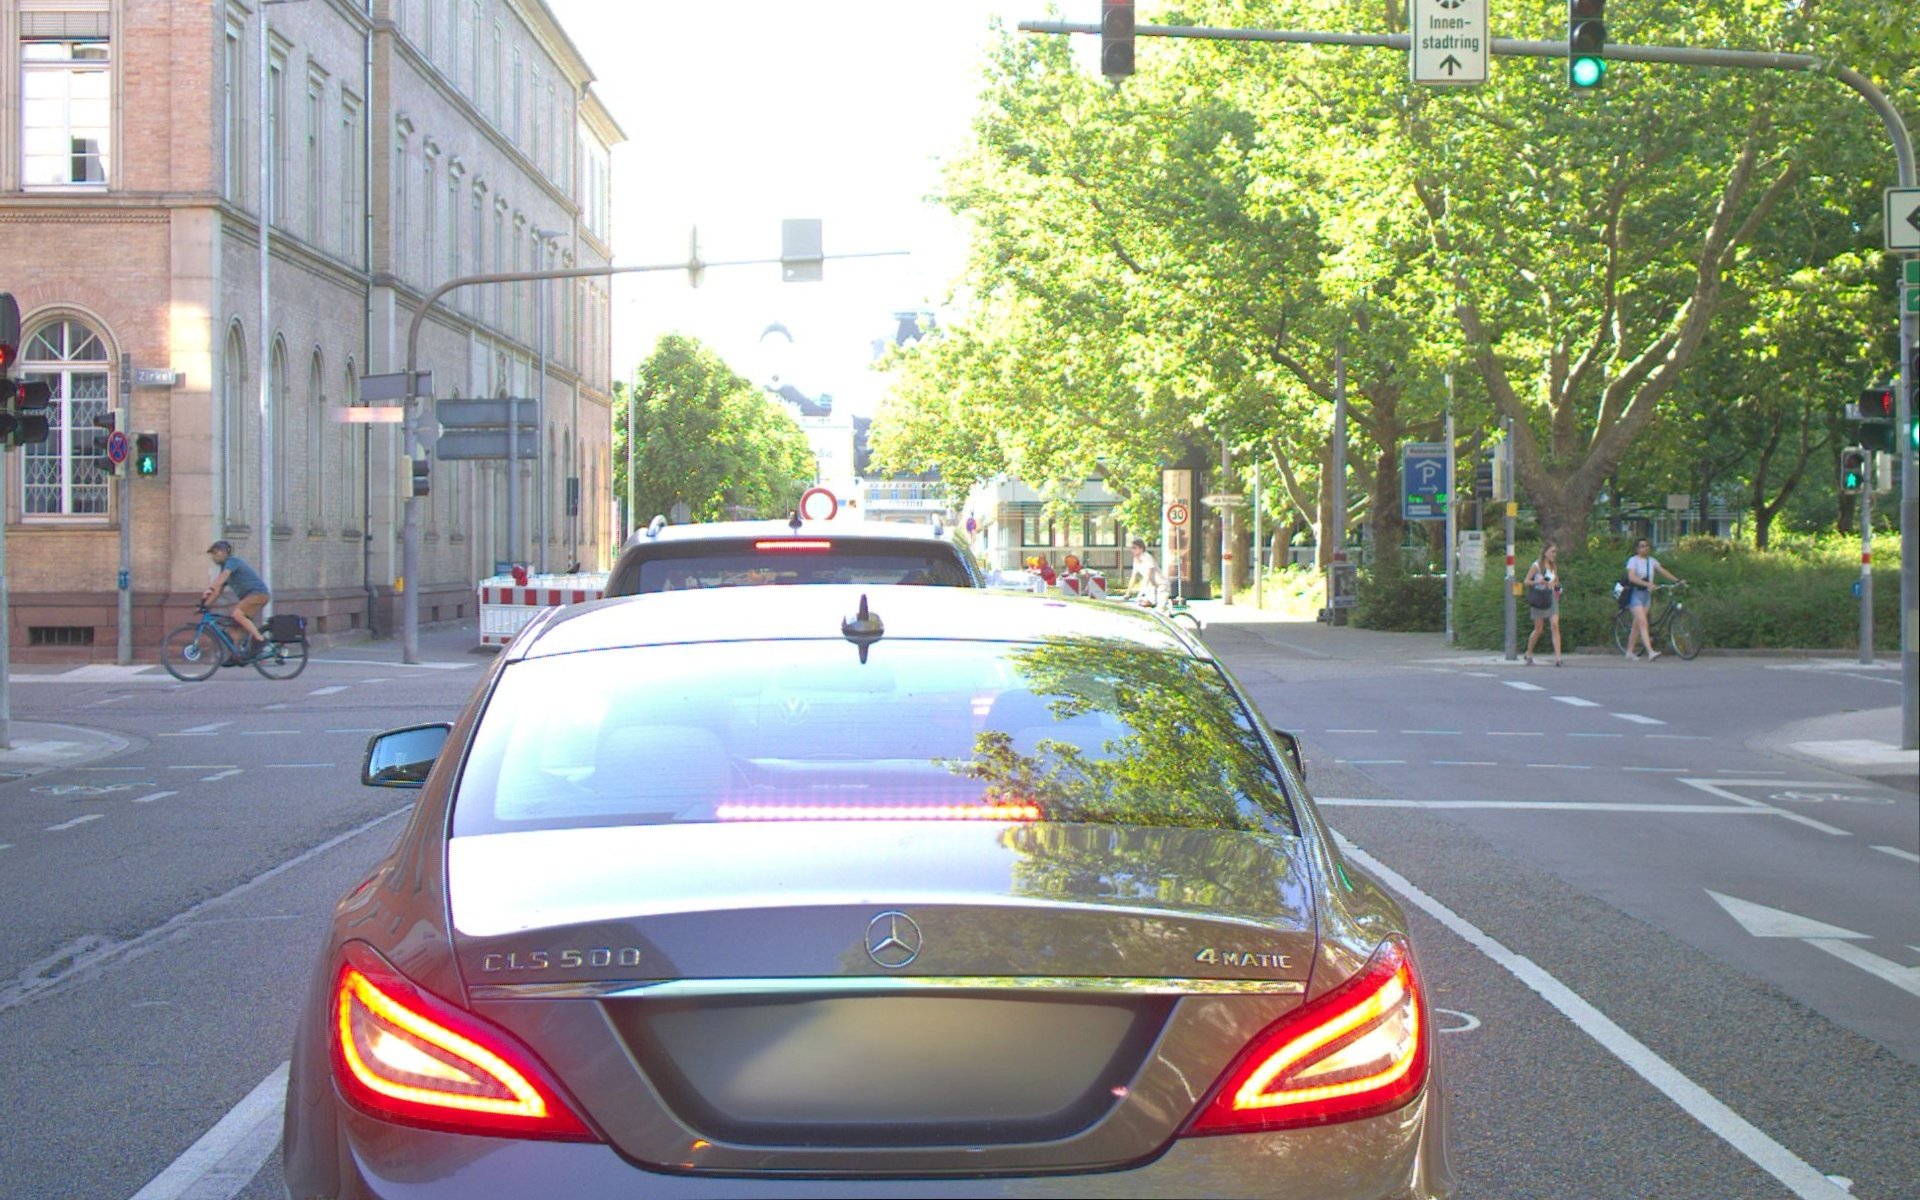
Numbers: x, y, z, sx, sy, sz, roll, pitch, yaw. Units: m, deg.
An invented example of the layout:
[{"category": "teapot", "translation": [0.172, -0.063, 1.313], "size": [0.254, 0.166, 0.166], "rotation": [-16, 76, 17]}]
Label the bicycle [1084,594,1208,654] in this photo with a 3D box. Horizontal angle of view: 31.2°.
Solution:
[{"category": "bicycle", "translation": [2.808, 0.360, 51.874], "size": [1.861, 0.888, 0.550], "rotation": [0, 1, -29]}]

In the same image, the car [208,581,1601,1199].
[{"category": "car", "translation": [-0.286, 0.701, 6.807], "size": [1.842, 1.424, 4.518], "rotation": [1, 1, -6]}]

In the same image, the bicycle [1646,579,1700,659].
[{"category": "bicycle", "translation": [9.999, 0.258, 48.262], "size": [0.524, 1.096, 1.741], "rotation": [1, 1, 5]}]

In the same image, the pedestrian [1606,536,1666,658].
[{"category": "pedestrian", "translation": [9.527, -0.048, 48.470], "size": [0.683, 1.691, 0.970], "rotation": [1, 0, 3]}]

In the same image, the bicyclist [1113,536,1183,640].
[{"category": "bicyclist", "translation": [2.833, -0.186, 51.869], "size": [0.804, 1.553, 0.650], "rotation": [1, 0, -29]}]

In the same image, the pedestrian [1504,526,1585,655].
[{"category": "pedestrian", "translation": [8.224, -0.127, 48.407], "size": [0.732, 1.802, 0.909], "rotation": [0, -1, -22]}]

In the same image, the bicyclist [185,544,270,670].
[{"category": "bicyclist", "translation": [-8.844, 0.076, 41.505], "size": [0.949, 1.495, 0.823], "rotation": [1, 0, -14]}]

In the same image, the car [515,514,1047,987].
[{"category": "car", "translation": [-0.577, 0.496, 13.735], "size": [1.809, 1.607, 4.000], "rotation": [0, 1, 1]}]

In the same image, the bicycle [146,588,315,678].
[{"category": "bicycle", "translation": [-8.814, 0.397, 41.519], "size": [1.956, 1.059, 0.706], "rotation": [1, 0, -14]}]
